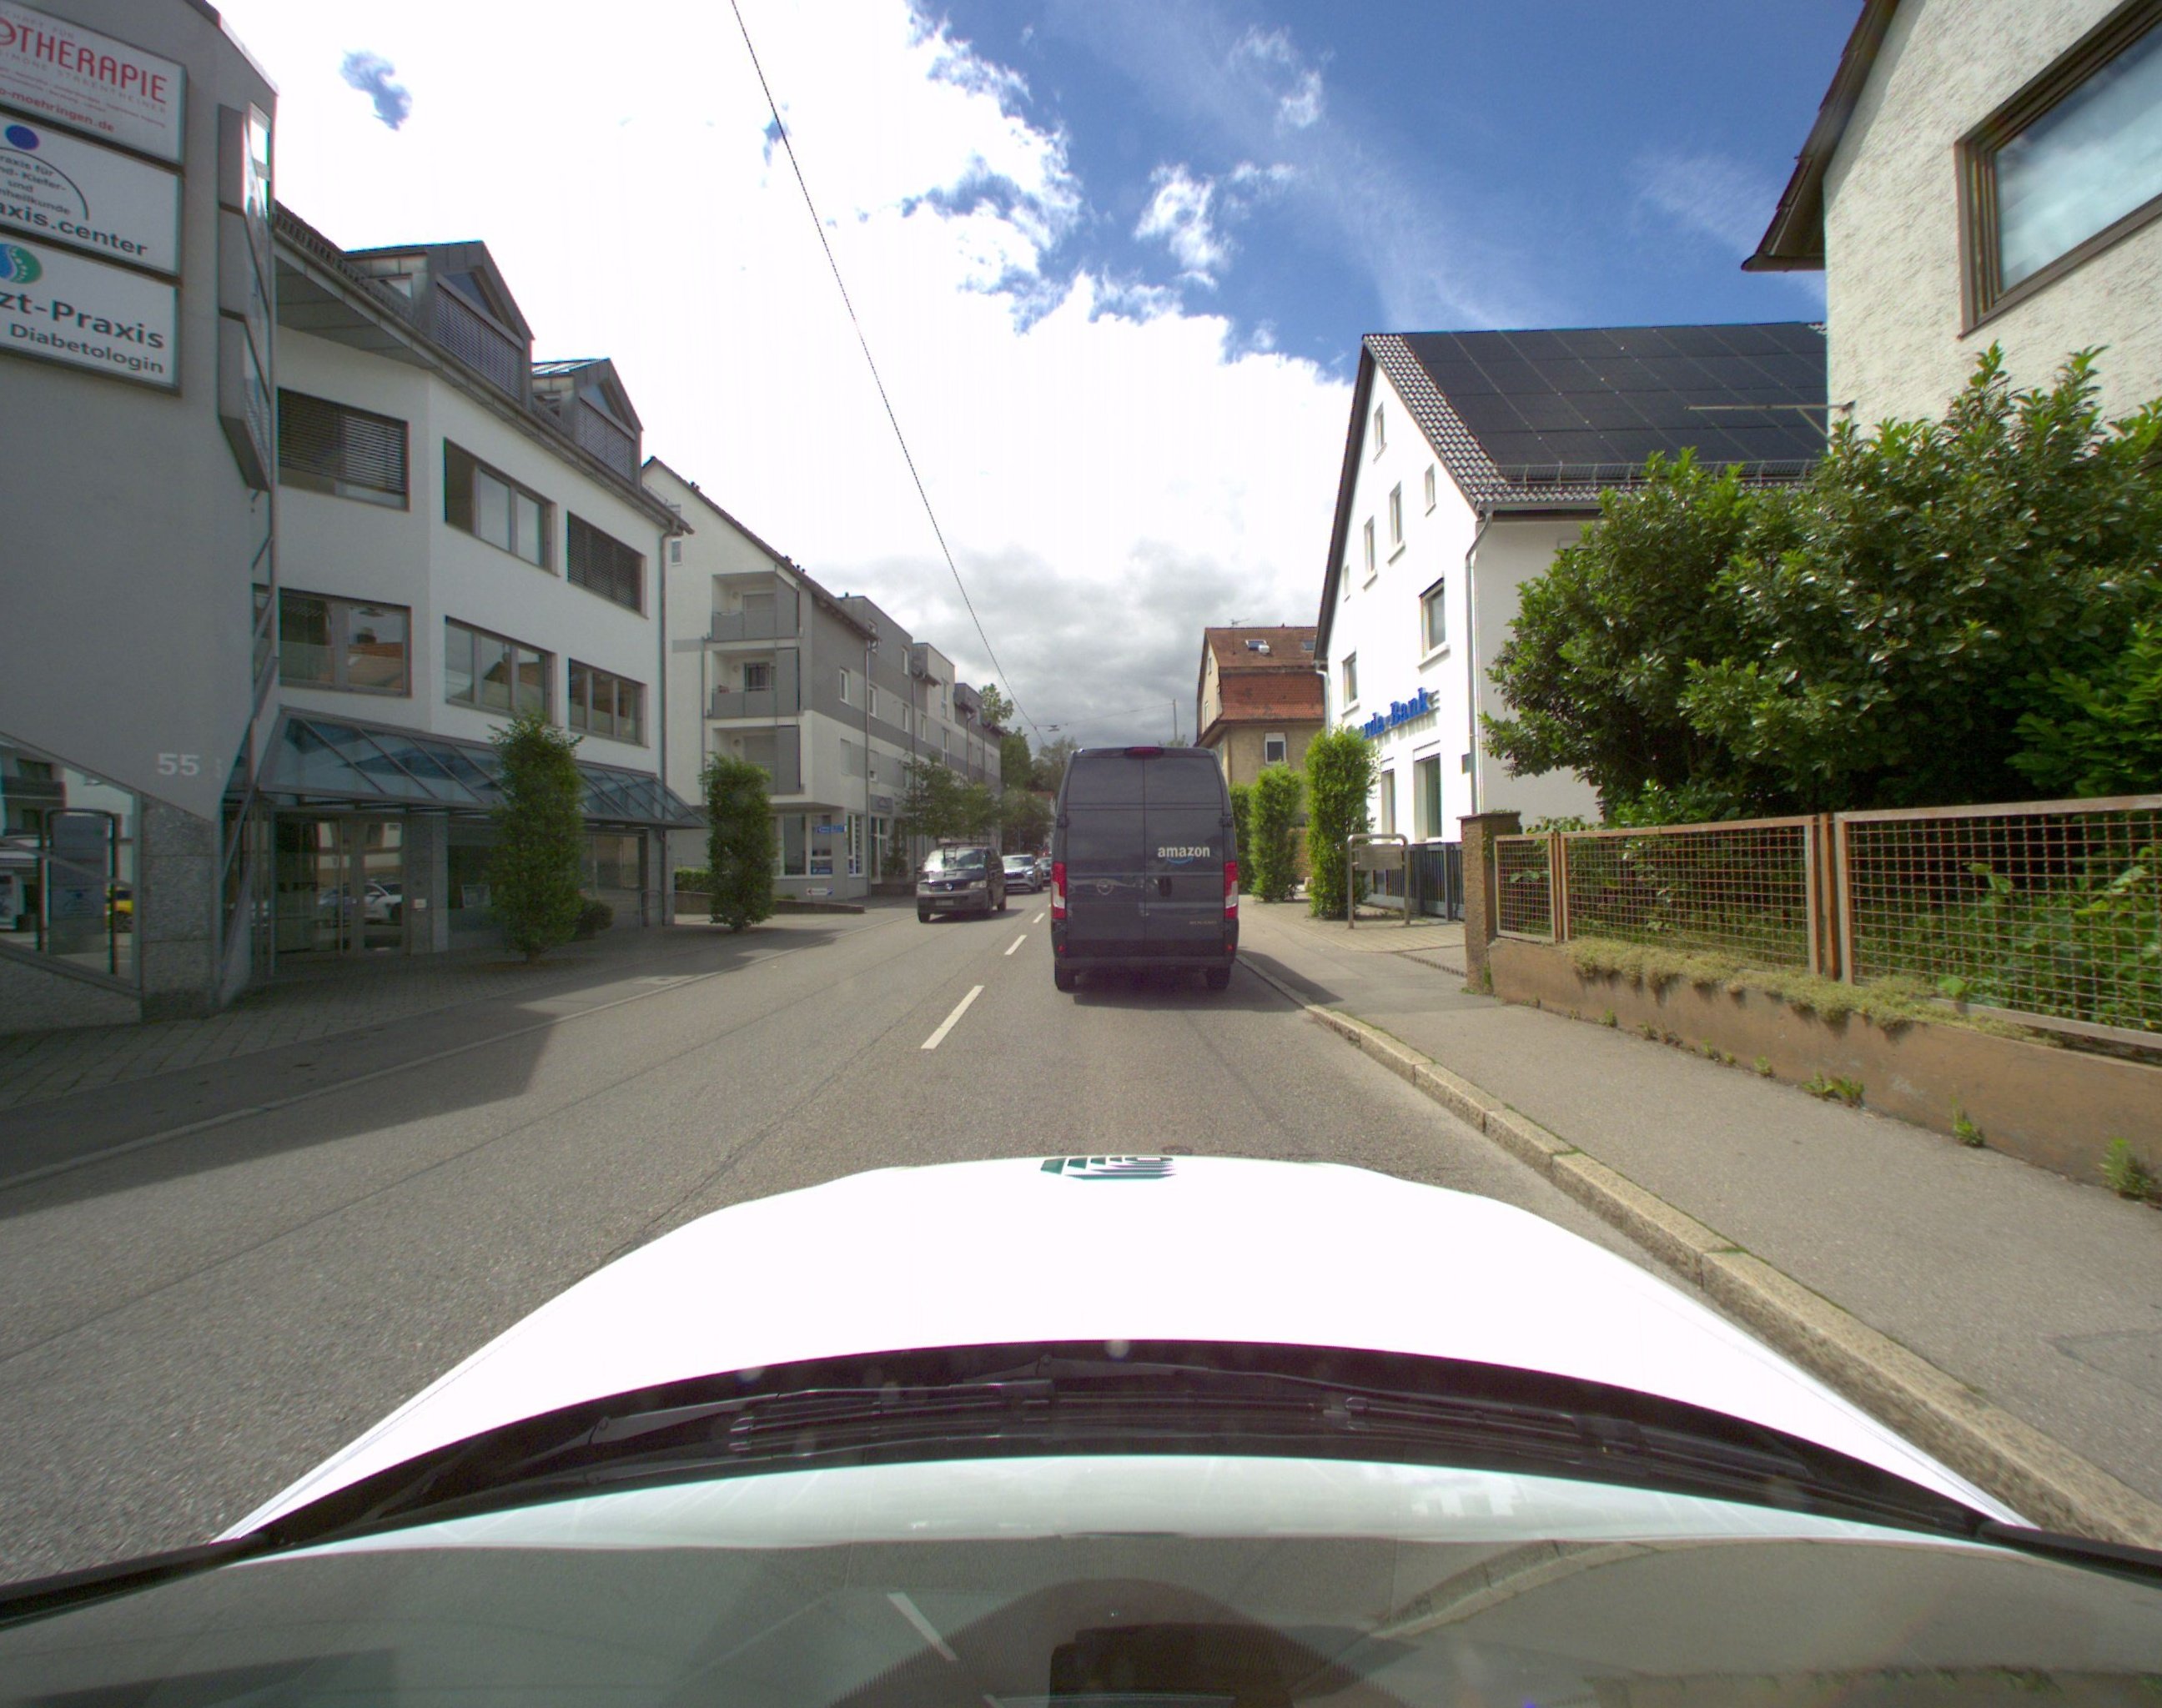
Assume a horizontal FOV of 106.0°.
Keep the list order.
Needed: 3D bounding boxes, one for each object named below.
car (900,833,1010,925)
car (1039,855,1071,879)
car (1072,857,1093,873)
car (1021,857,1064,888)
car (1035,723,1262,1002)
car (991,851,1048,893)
[{"bbox_3d":[-3.261,0.617,22.127,2.098,2.121,4.765,-3,0,0],"label":"car"},{"bbox_3d":[-1.855,0.938,60.049,2.098,1.596,4.649,-1,0,0],"label":"car"},{"bbox_3d":[0.183,1.101,85.395,2.098,1.596,4.649,-1,0,0],"label":"car"},{"bbox_3d":[-2.105,0.971,45.408,2.098,1.596,4.649,-1,0,0],"label":"car"},{"bbox_3d":[0.773,0.097,11.115,2.244,2.795,5.571,-1,0,2],"label":"car"},{"bbox_3d":[-2.643,0.754,36.214,2.098,1.710,4.765,-1,0,0],"label":"car"}]
